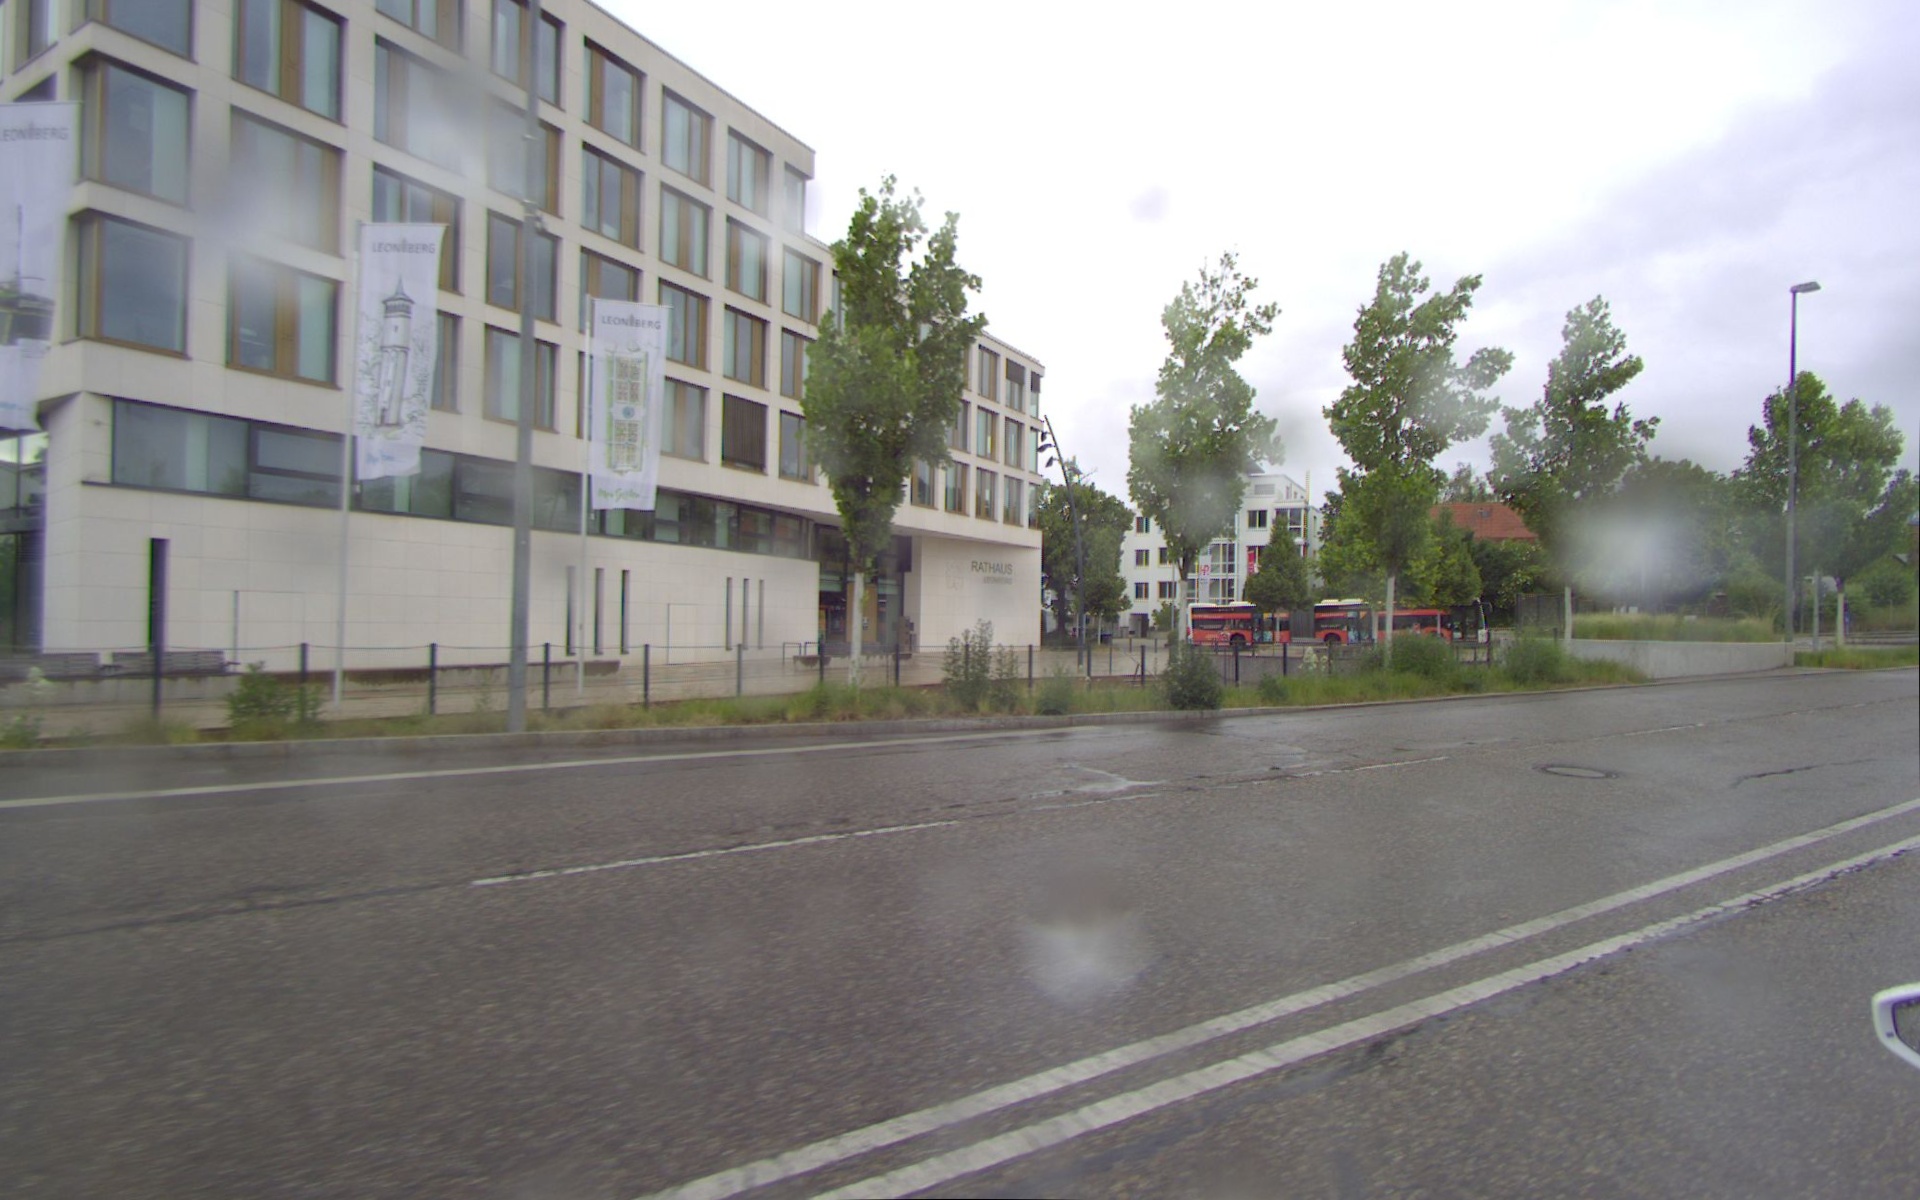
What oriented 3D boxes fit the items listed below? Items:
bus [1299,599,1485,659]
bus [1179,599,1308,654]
[{"bbox_3d":[26.437,1.754,61.760,10.222,3.323,2.859,1,-3,29],"label":"bus"},{"bbox_3d":[18.670,1.724,66.309,7.699,3.323,2.739,1,-3,29],"label":"bus"}]
